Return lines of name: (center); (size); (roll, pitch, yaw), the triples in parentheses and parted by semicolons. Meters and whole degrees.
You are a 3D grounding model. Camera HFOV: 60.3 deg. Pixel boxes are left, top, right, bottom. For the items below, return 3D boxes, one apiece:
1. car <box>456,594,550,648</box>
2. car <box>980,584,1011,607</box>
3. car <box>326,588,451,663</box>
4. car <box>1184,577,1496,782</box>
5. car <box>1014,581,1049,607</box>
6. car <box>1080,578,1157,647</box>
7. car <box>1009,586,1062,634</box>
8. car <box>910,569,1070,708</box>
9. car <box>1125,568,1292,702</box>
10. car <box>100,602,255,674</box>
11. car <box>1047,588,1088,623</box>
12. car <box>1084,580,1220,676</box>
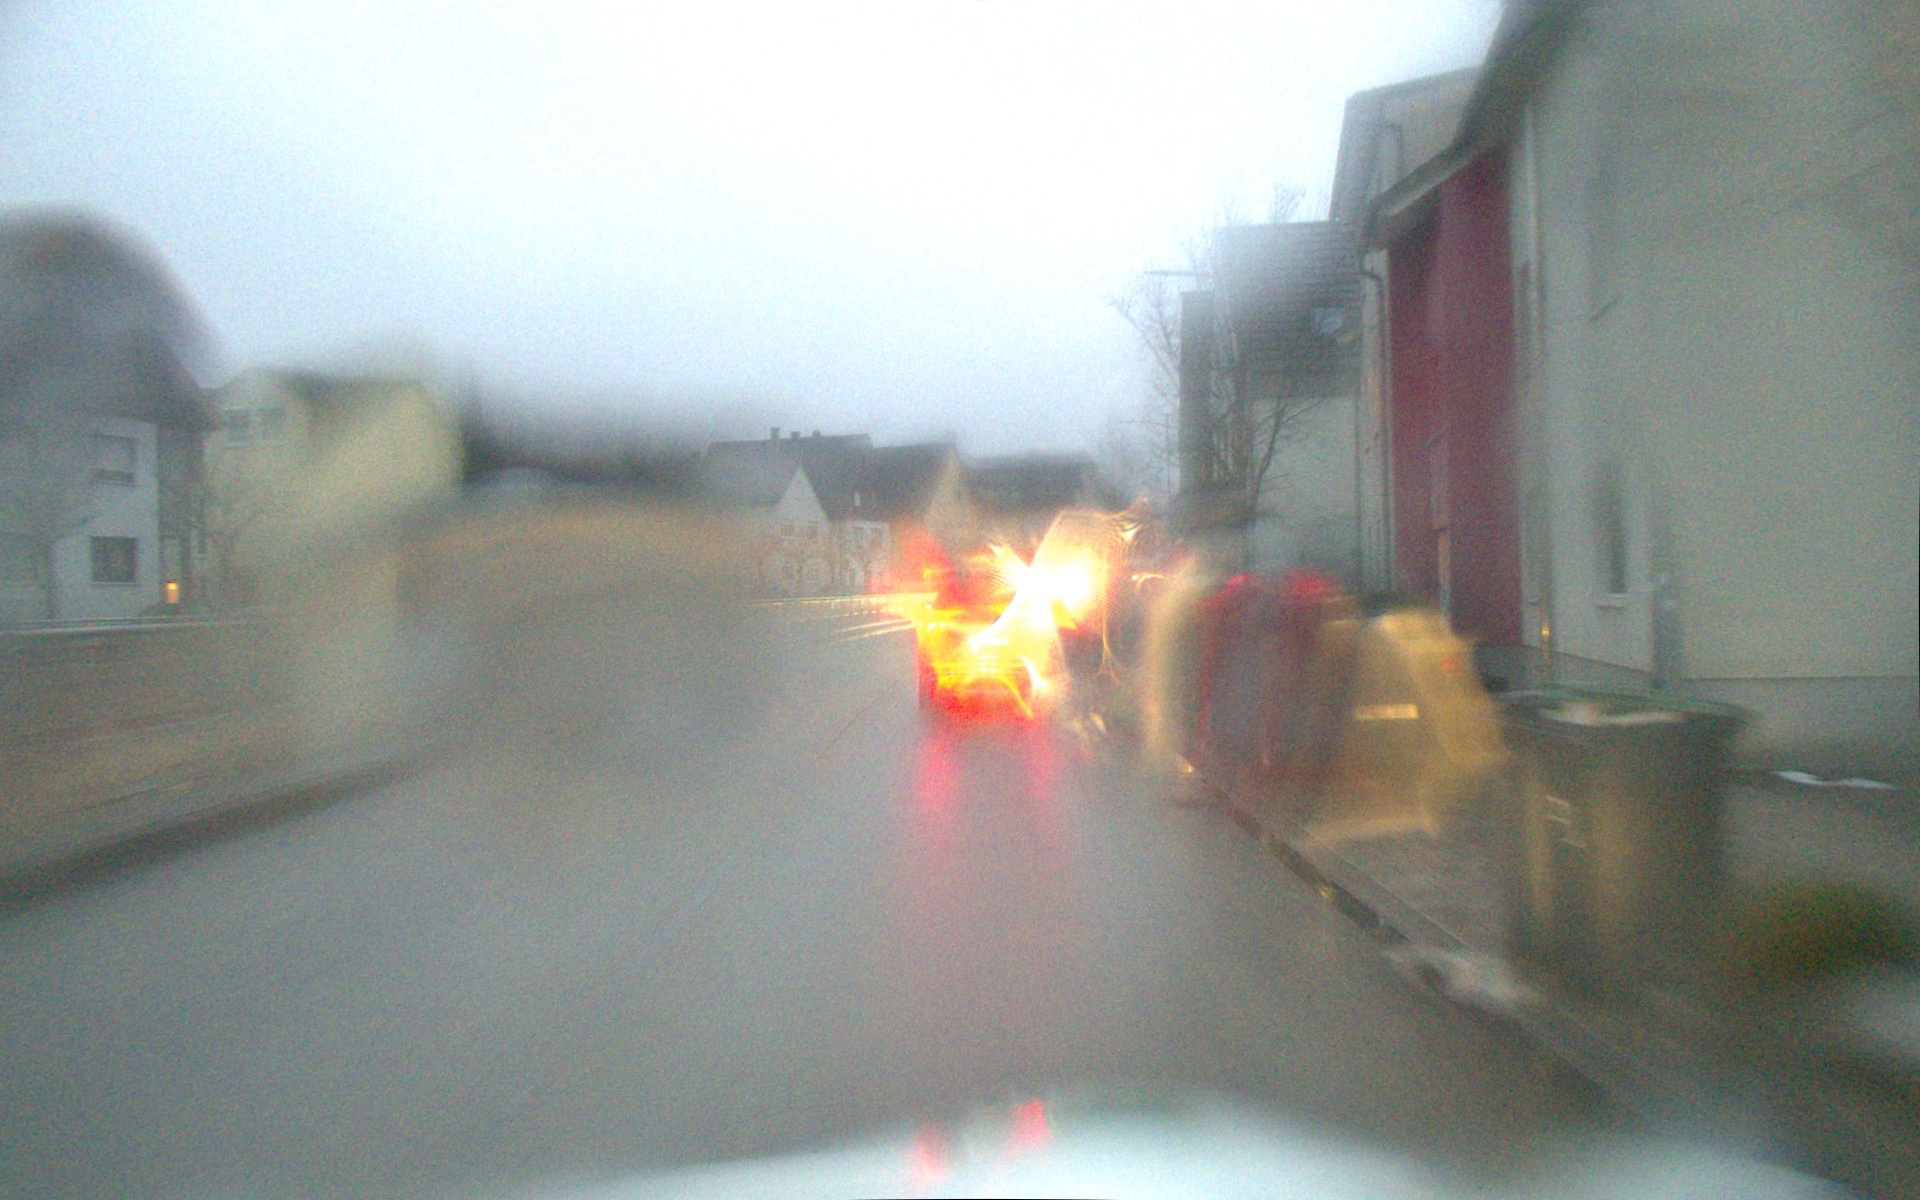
car: (-17.845, 0.787, 64.820); (1.834, 1.809, 4.506); (-3, 1, 8)
car: (2.700, -0.351, 125.808); (1.786, 1.641, 4.051); (1, 0, -6)
car: (-15.003, 0.638, 43.624); (1.762, 1.835, 3.862); (-2, 0, 3)
car: (3.168, 0.577, 14.632); (1.668, 1.476, 4.191); (-2, 1, -1)
car: (5.392, -0.466, 124.969); (1.998, 1.959, 4.051); (1, 0, -6)
car: (3.819, 0.271, 40.373); (1.618, 1.480, 4.240); (-4, 0, 3)
car: (2.473, 0.311, 53.798); (1.647, 1.478, 4.002); (1, 0, 3)
car: (0.308, 0.425, 22.424); (1.925, 1.622, 4.312); (-1, 2, -2)
car: (3.314, 0.420, 22.824); (1.630, 1.603, 4.497); (-2, 0, 1)
car: (-20.264, 0.954, 43.012); (1.819, 1.711, 4.003); (1, 1, 6)
car: (4.878, 0.226, 74.998); (1.776, 1.436, 4.003); (-1, 2, 3)
car: (3.344, 0.434, 29.692); (1.916, 1.559, 5.009); (1, 1, 1)
